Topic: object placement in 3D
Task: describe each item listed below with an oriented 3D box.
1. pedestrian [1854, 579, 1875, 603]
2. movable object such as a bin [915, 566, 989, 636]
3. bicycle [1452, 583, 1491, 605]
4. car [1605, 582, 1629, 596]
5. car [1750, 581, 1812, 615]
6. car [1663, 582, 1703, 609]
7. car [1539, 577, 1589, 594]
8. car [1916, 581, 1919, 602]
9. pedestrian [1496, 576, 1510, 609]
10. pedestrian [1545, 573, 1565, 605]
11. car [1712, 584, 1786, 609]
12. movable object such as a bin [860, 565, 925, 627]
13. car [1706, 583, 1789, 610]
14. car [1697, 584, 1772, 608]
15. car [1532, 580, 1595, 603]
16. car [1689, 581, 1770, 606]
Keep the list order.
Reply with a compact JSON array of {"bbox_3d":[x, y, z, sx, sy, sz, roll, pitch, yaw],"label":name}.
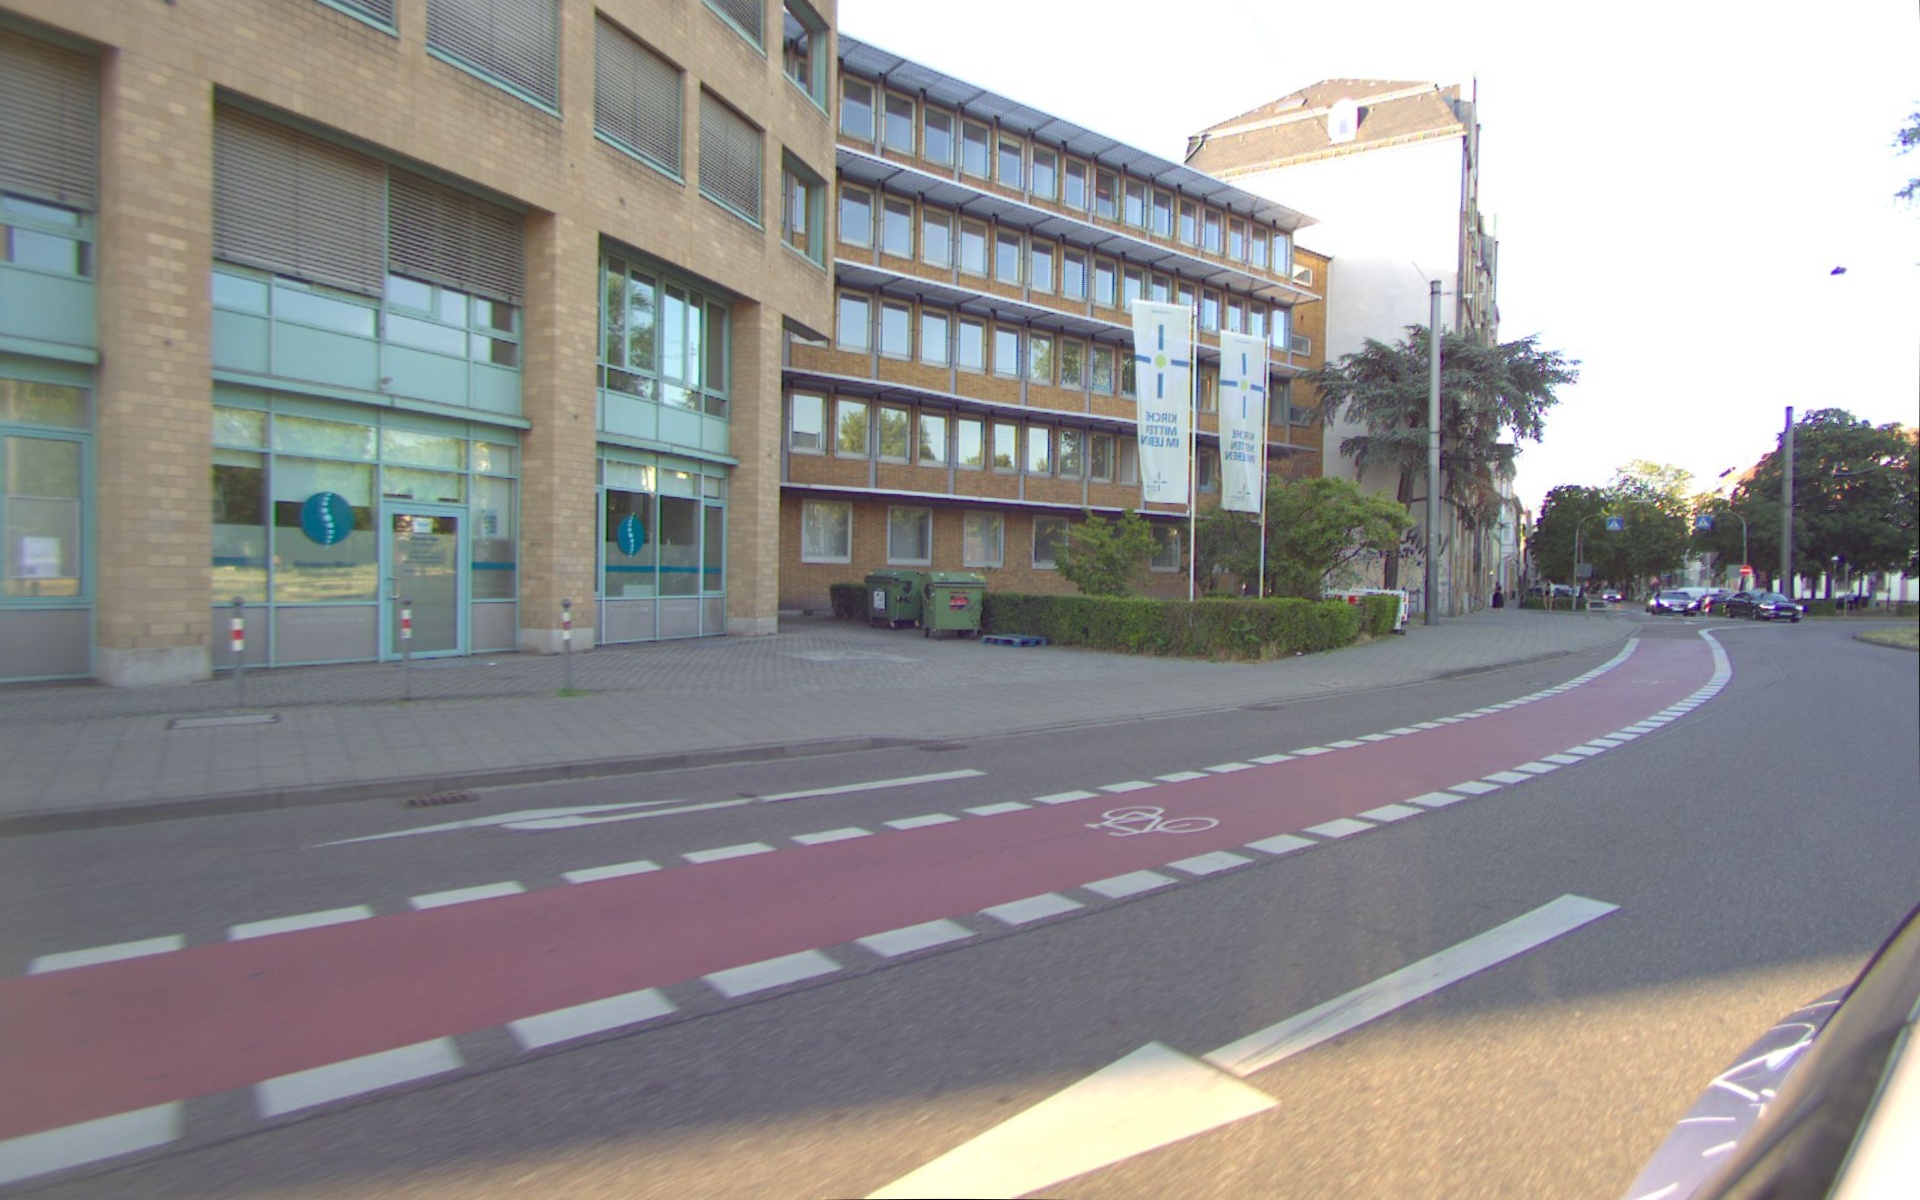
[{"bbox_3d":[75.944,-0.762,84.991,0.988,2.039,0.831,2,0,-7],"label":"pedestrian"},{"bbox_3d":[-0.177,0.013,21.875,1.316,1.455,0.976,2,1,-18],"label":"movable object such as a bin"},{"bbox_3d":[27.696,-0.330,54.779,1.841,1.086,0.424,3,1,31],"label":"bicycle"},{"bbox_3d":[73.771,-1.246,113.602,1.812,1.501,4.078,2,0,38],"label":"car"},{"bbox_3d":[40.070,-0.093,49.486,1.807,1.501,4.088,2,1,32],"label":"car"},{"bbox_3d":[43.081,-0.265,60.238,1.811,1.501,4.080,3,1,37],"label":"car"},{"bbox_3d":[62.730,-1.512,105.182,4.363,1.633,1.710,3,1,31],"label":"car"},{"bbox_3d":[82.129,-0.614,83.855,1.670,1.746,4.011,1,1,-38],"label":"car"},{"bbox_3d":[29.333,-0.397,54.662,0.574,1.730,0.712,2,1,35],"label":"pedestrian"},{"bbox_3d":[34.538,-0.640,58.740,0.804,1.814,0.593,2,0,-26],"label":"pedestrian"},{"bbox_3d":[58.651,-0.275,75.226,1.966,1.638,4.060,1,1,-43],"label":"car"},{"bbox_3d":[-1.639,-0.107,24.500,0.909,1.442,1.342,1,1,-44],"label":"movable object such as a bin"},{"bbox_3d":[51.543,-0.231,66.294,1.834,1.576,4.060,1,1,-43],"label":"car"},{"bbox_3d":[56.211,-0.296,73.486,1.966,1.571,4.060,1,1,-43],"label":"car"},{"bbox_3d":[46.245,-0.626,77.581,4.041,1.589,1.815,3,1,34],"label":"car"},{"bbox_3d":[65.023,-0.591,85.592,2.081,1.926,5.083,1,1,-35],"label":"car"}]
